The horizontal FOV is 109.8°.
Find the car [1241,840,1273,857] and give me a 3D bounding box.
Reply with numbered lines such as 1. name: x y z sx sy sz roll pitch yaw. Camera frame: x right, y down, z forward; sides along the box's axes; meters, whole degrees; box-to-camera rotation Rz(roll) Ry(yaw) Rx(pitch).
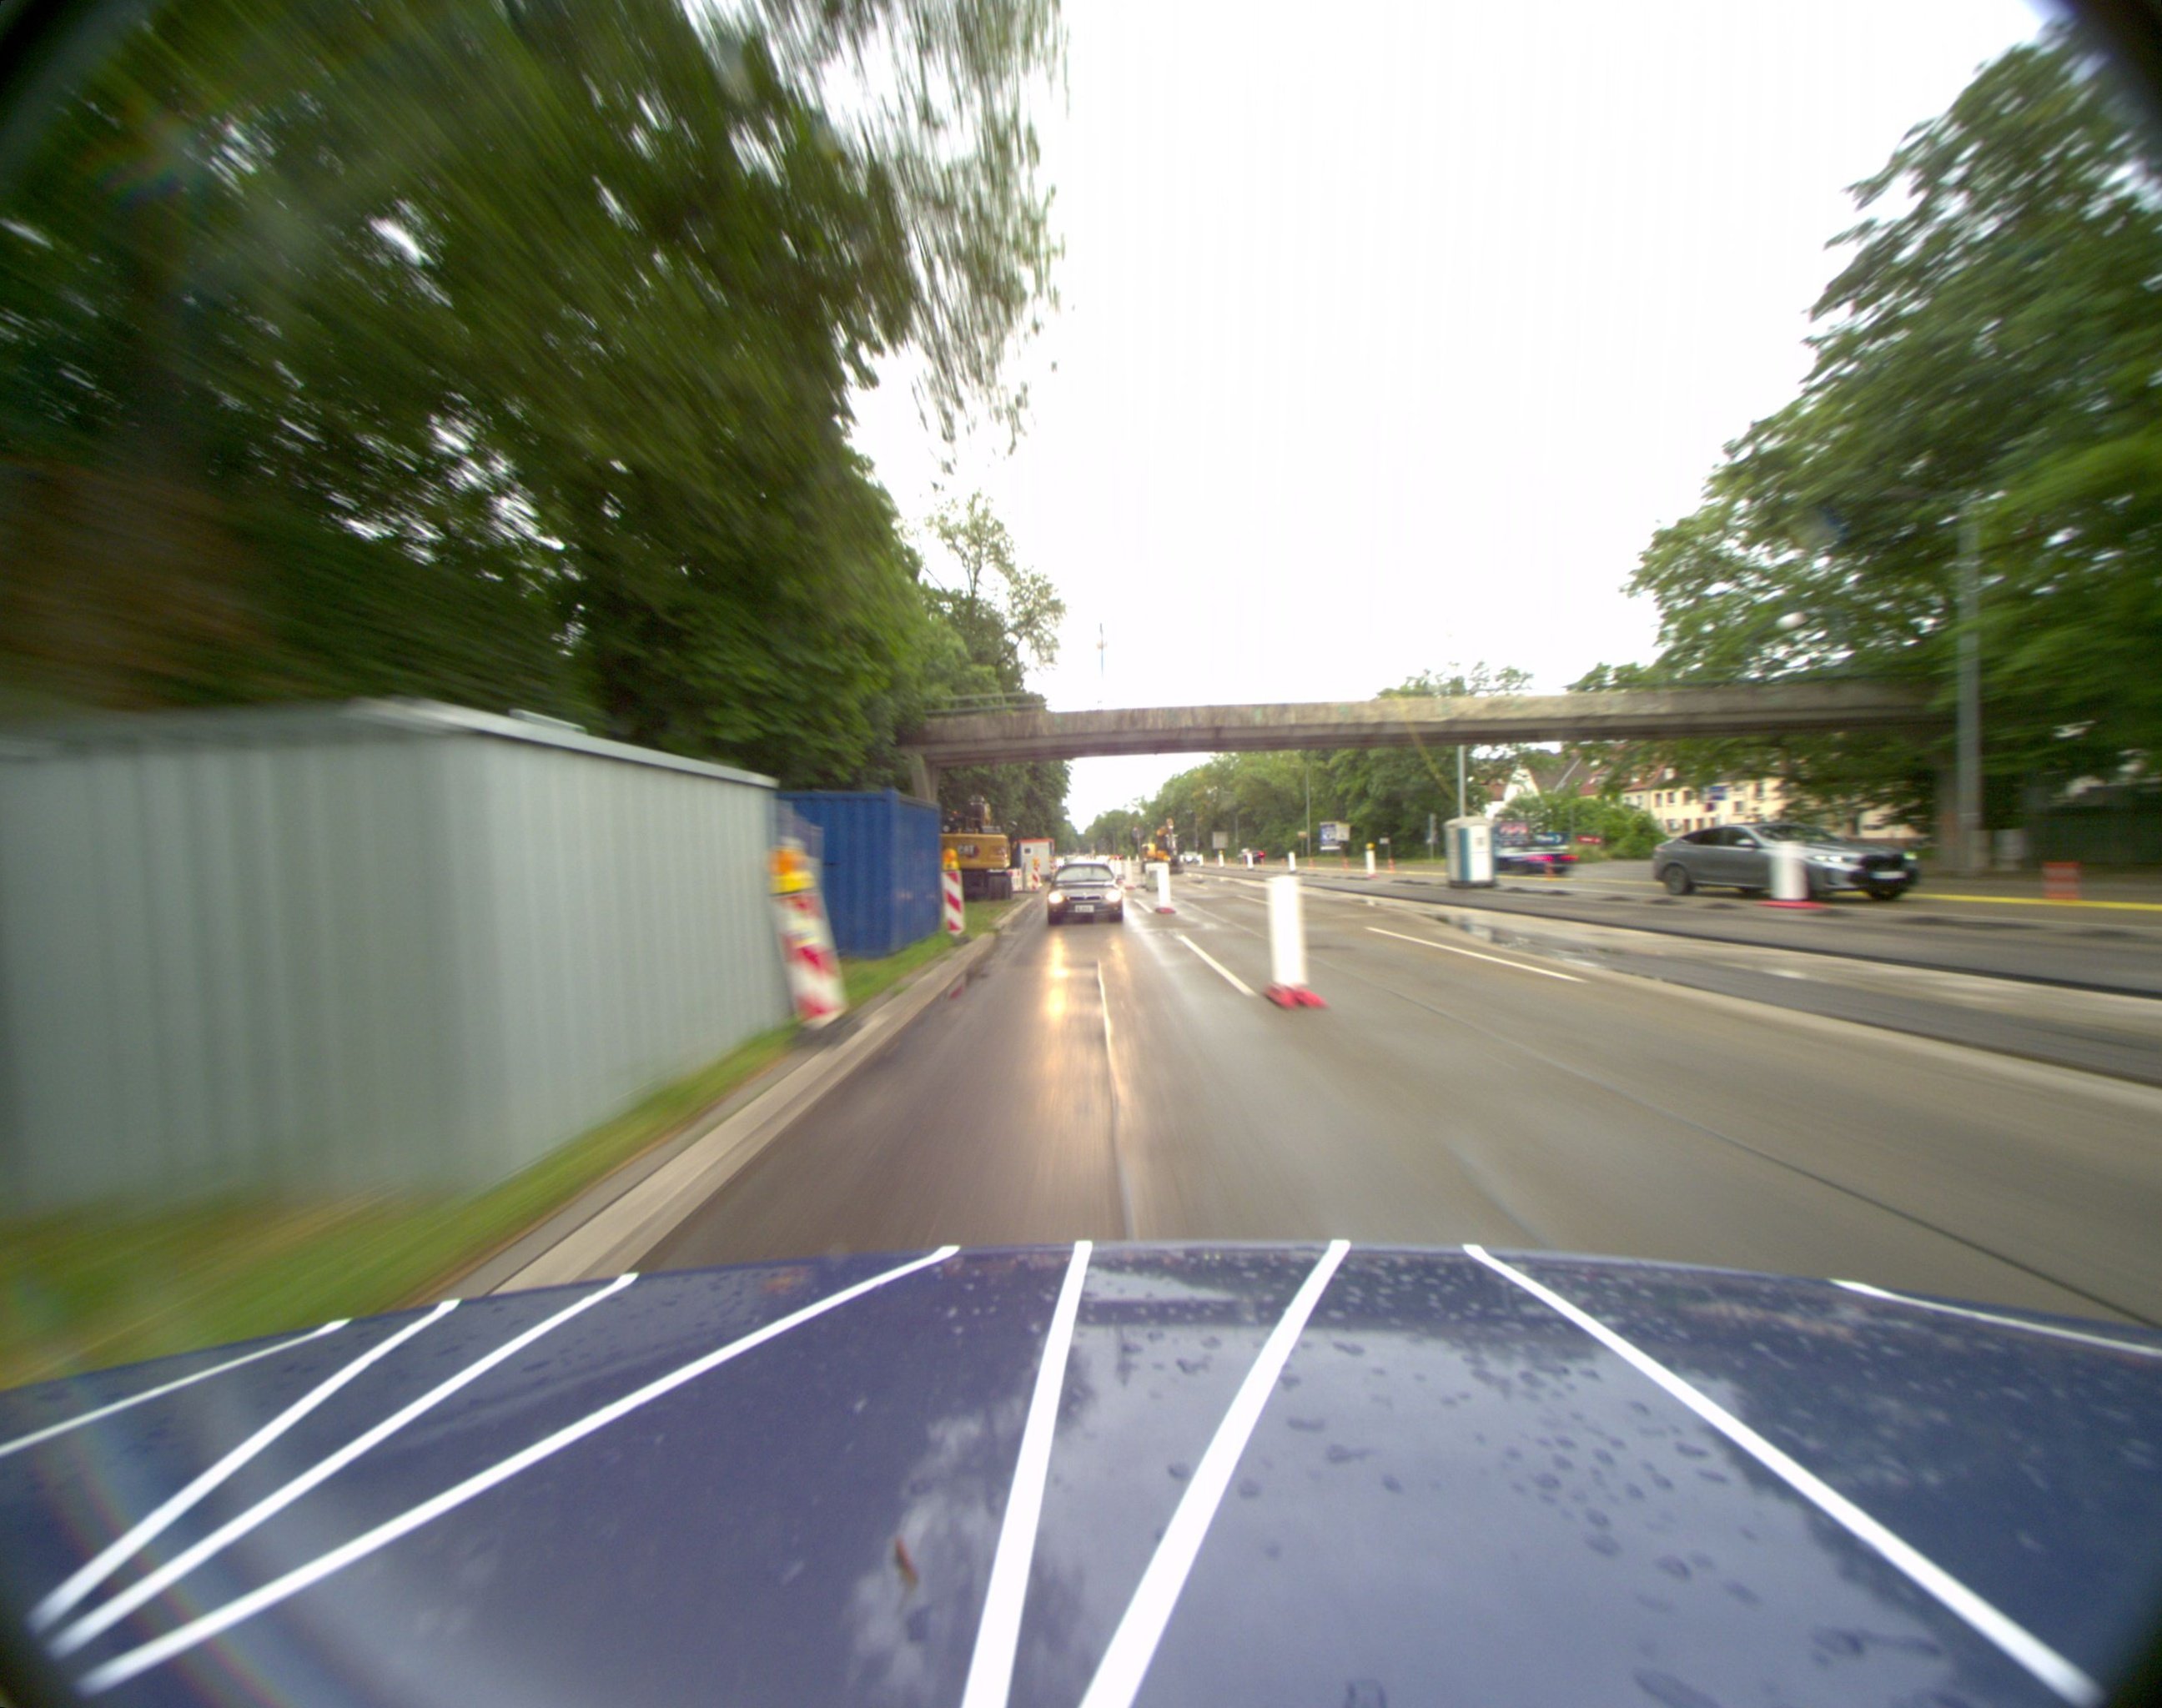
1. car: 18.817 -0.611 81.636 2.221 1.729 5.055 -3 1 0

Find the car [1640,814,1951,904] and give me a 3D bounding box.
1. car: 15.241 0.063 16.755 2.082 1.604 5.055 -3 1 0

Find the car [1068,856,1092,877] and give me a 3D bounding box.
1. car: -0.066 1.047 66.514 1.998 1.650 4.229 -2 1 0

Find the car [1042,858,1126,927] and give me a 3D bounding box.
1. car: 0.041 0.871 19.137 1.838 1.397 3.999 -3 1 -1

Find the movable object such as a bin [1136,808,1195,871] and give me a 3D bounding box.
1. movable object such as a bin: 6.622 -1.154 61.224 3.526 4.495 10.068 -2 1 0

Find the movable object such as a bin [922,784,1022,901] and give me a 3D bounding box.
1. movable object such as a bin: -3.996 -0.435 29.290 2.890 3.917 6.104 -3 1 -1

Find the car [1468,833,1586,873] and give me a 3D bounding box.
1. car: 18.441 -0.056 31.726 1.999 1.451 4.883 -3 1 -1
